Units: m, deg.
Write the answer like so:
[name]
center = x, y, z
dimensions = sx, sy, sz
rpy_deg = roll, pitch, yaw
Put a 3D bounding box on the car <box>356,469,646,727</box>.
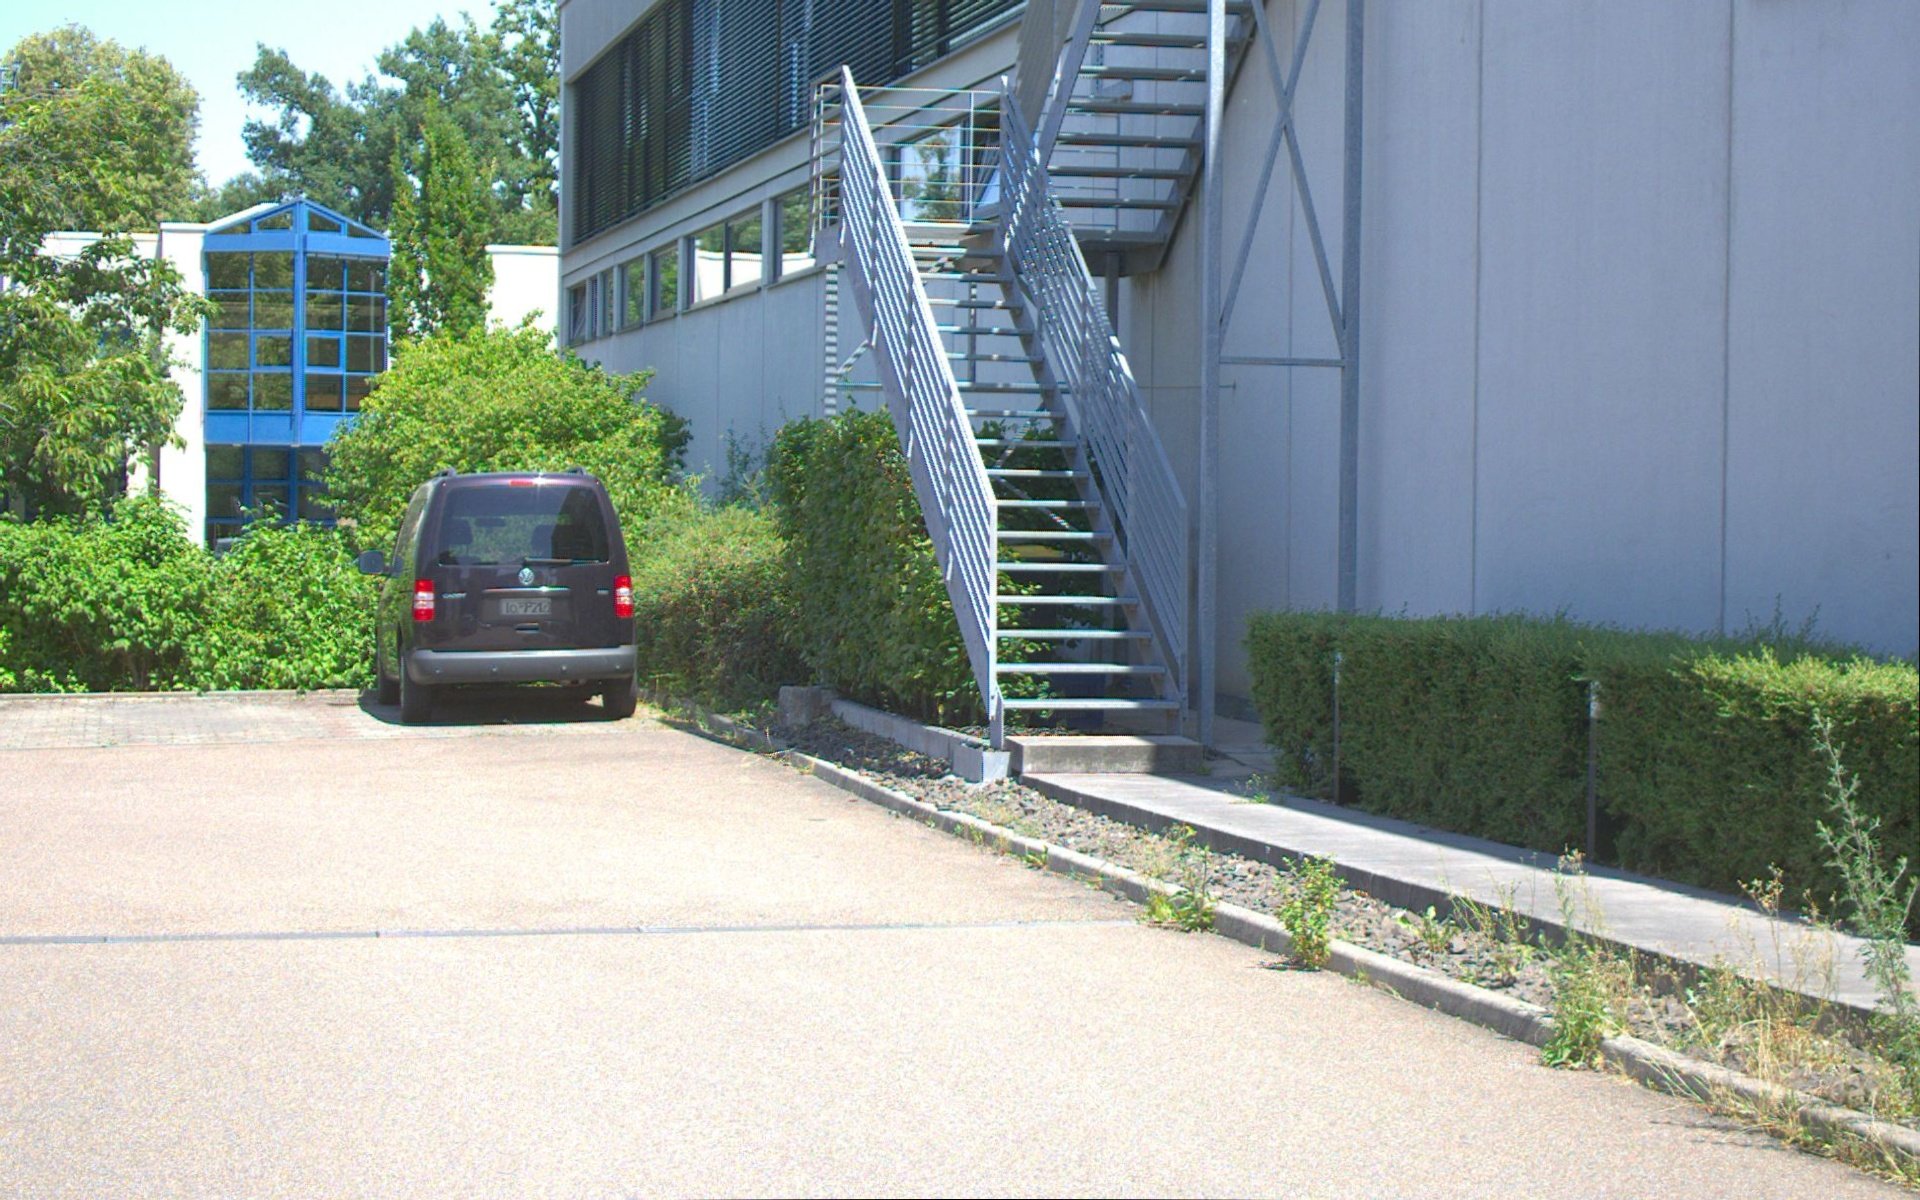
[car]
center = -3.634, -0.078, 26.676
dimensions = 1.742, 1.830, 4.001
rpy_deg = -1, 2, -15
